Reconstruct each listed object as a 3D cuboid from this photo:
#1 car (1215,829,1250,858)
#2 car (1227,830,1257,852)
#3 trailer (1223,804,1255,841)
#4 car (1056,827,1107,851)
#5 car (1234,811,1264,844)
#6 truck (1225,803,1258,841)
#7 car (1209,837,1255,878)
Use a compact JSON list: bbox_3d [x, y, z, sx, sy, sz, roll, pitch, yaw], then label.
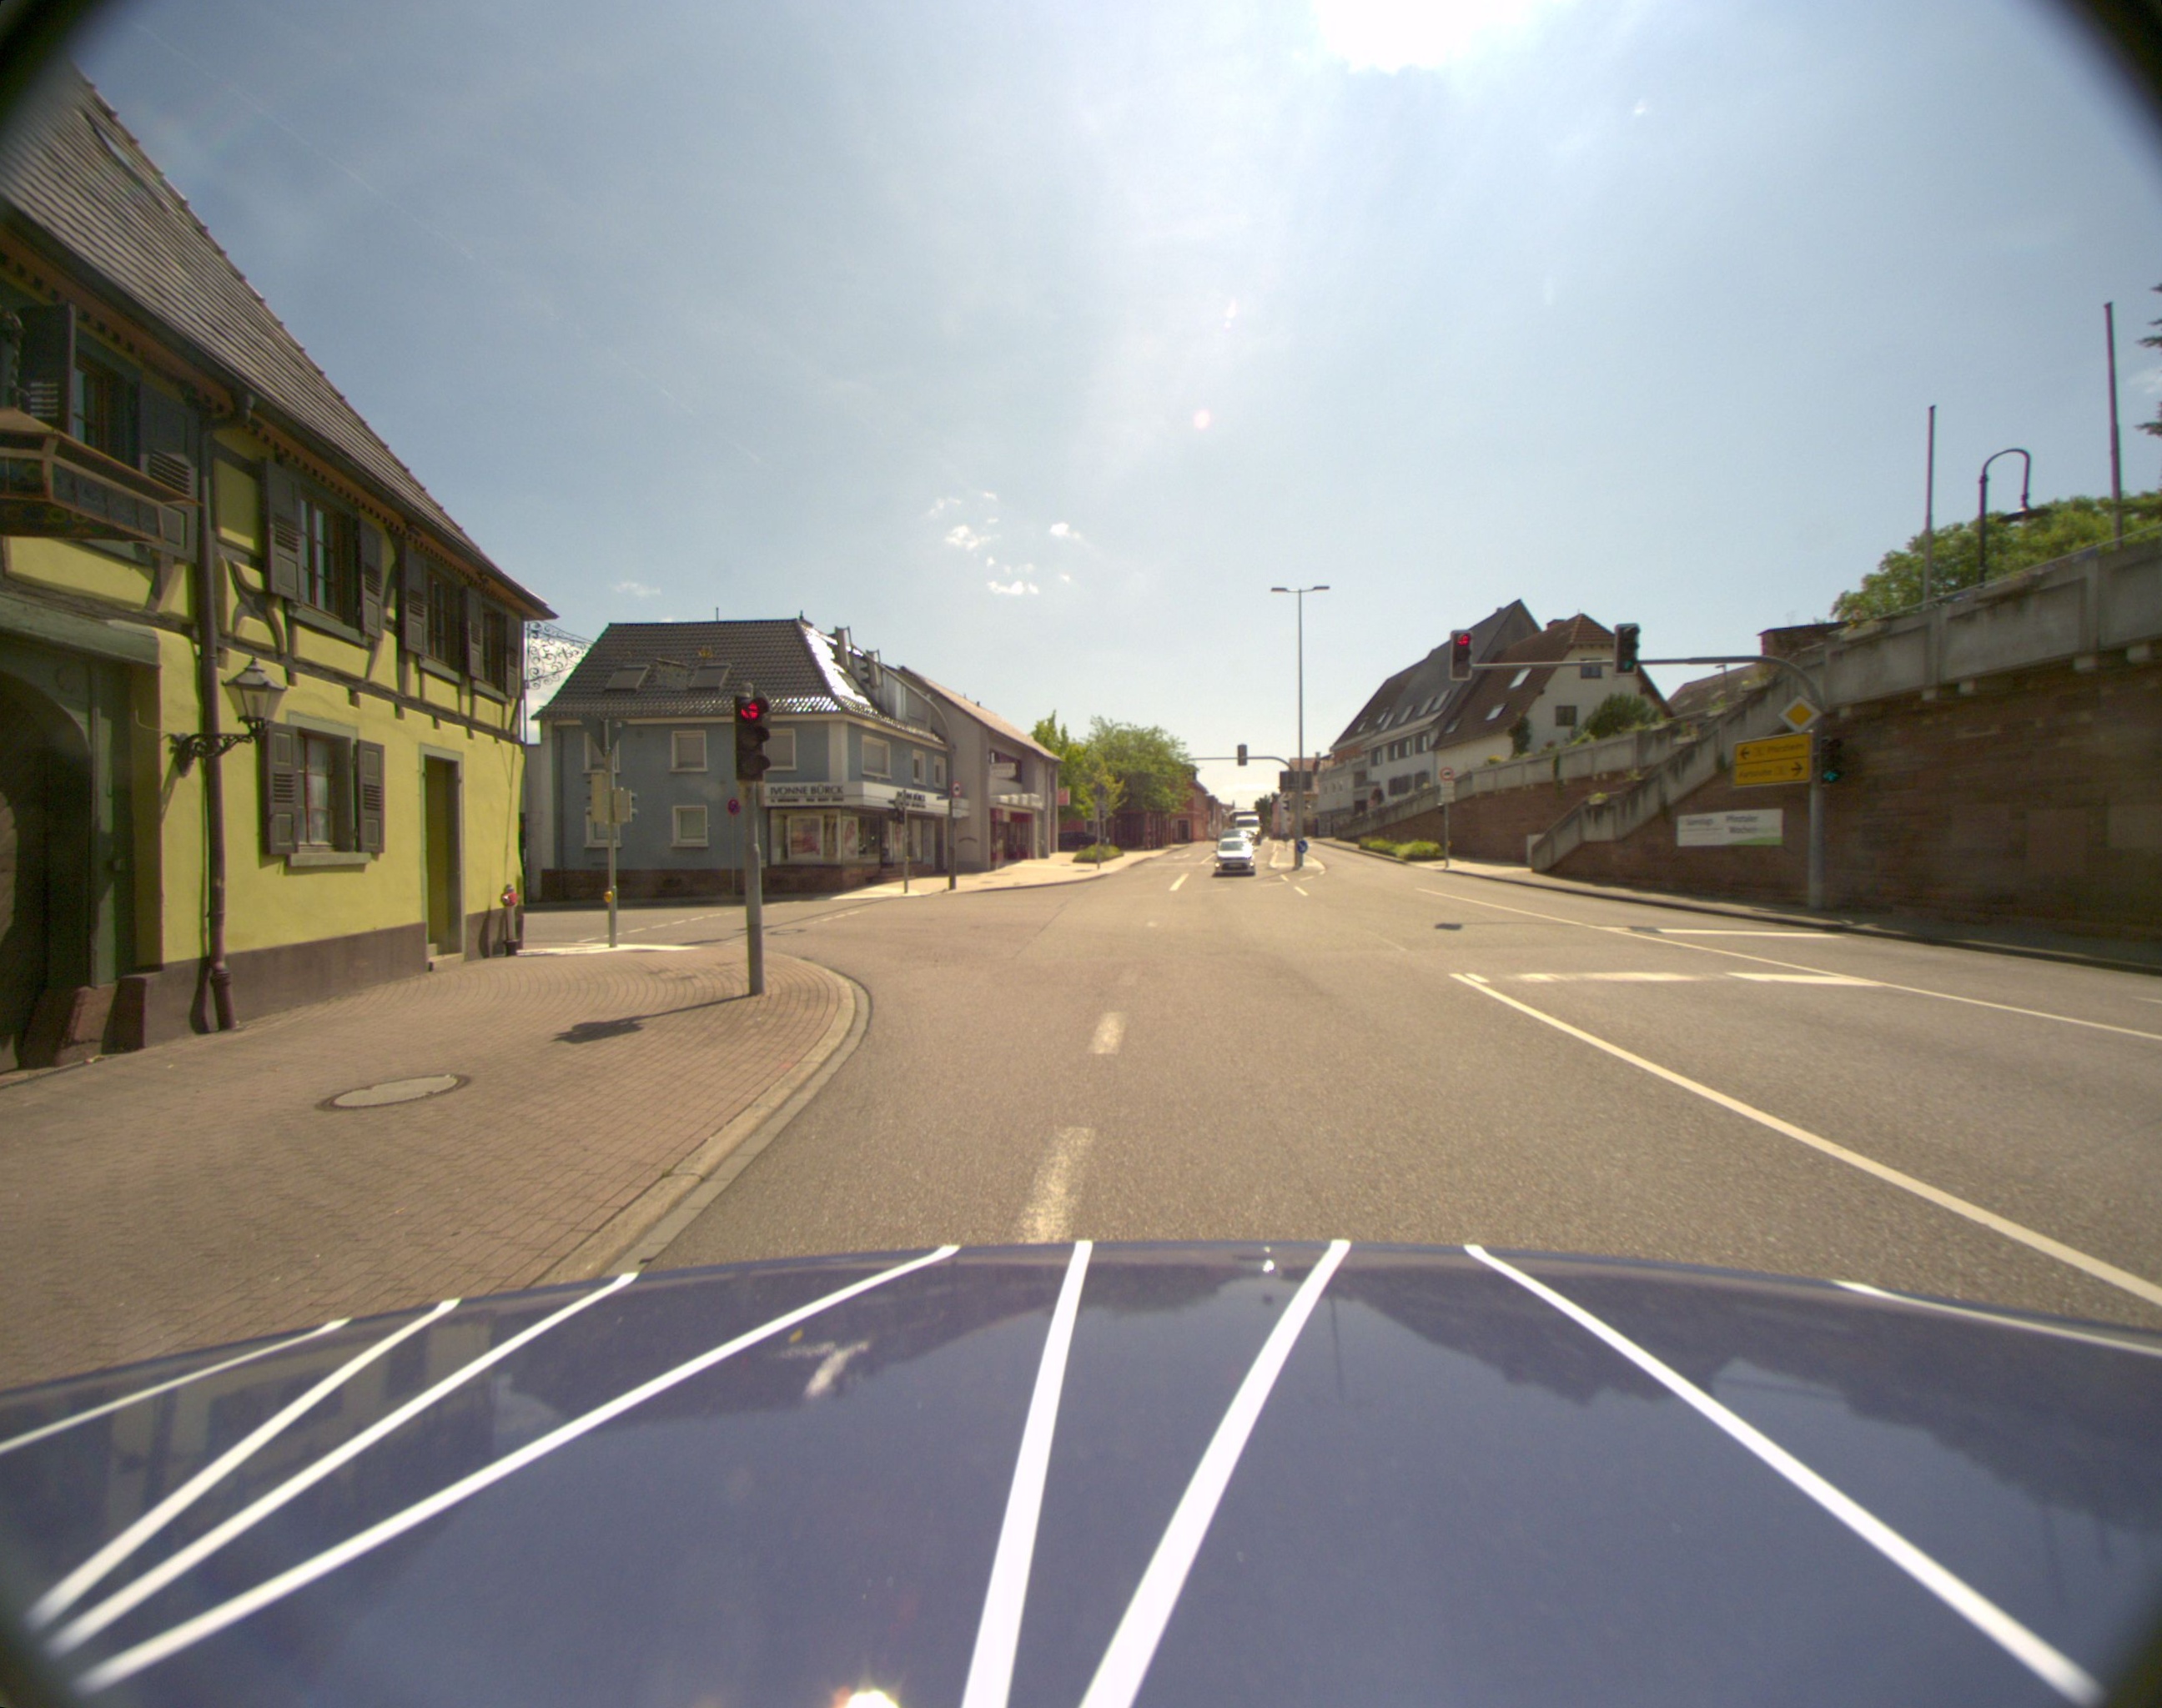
[{"bbox_3d":[9.051,-0.645,45.246,1.722,1.542,4.307,-2,1,15],"label":"car"},{"bbox_3d":[10.966,-0.871,51.648,1.927,1.358,4.306,-2,1,13],"label":"car"},{"bbox_3d":[16.657,-3.163,80.490,2.835,3.549,10.972,0,1,9],"label":"trailer"},{"bbox_3d":[0.064,-1.192,60.326,3.758,1.701,1.725,-2,1,6],"label":"car"},{"bbox_3d":[13.753,-2.107,61.978,2.172,2.549,4.829,0,1,14],"label":"car"},{"bbox_3d":[15.580,-3.043,74.050,2.846,3.549,5.472,0,1,9],"label":"truck"},{"bbox_3d":[6.257,0.113,31.868,1.723,1.542,4.305,-2,1,9],"label":"car"}]
